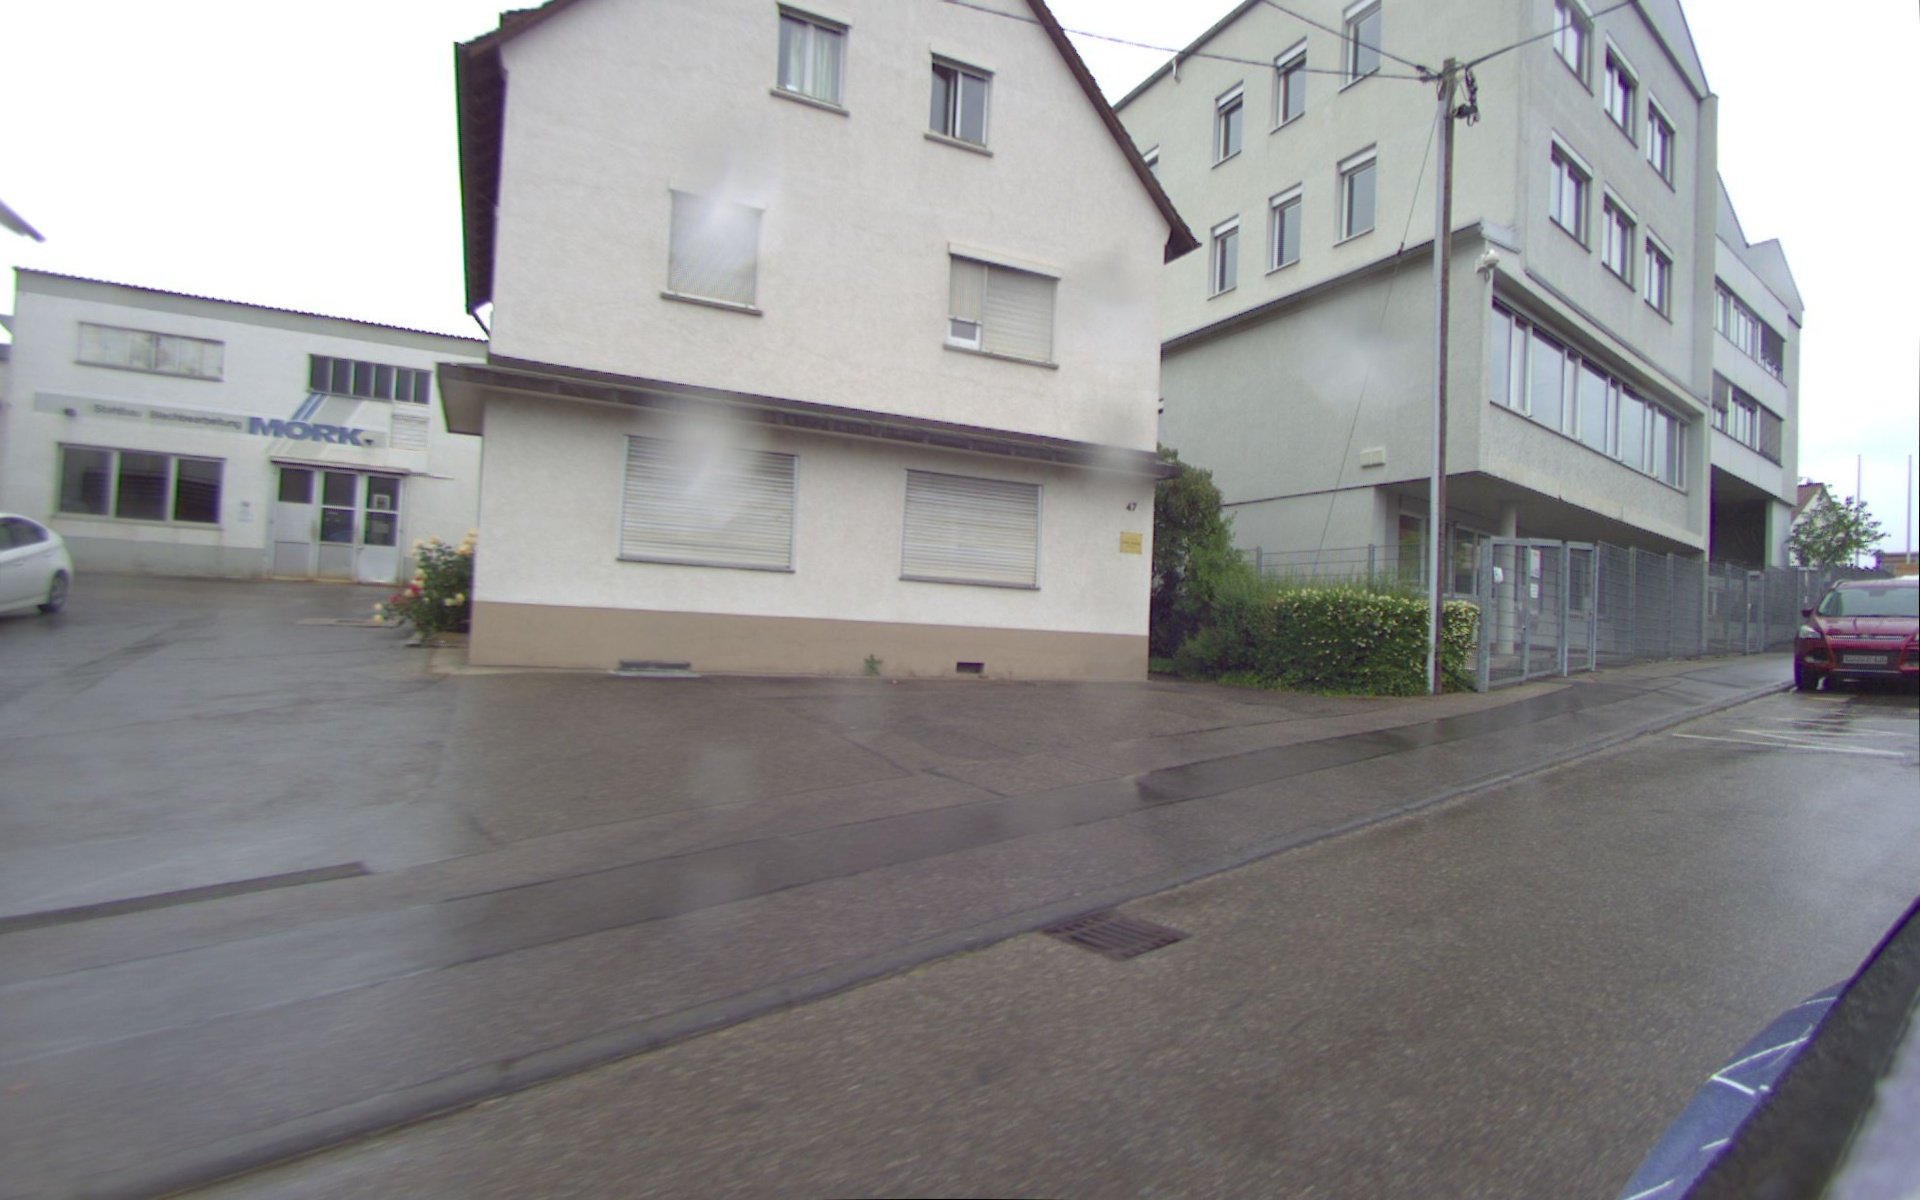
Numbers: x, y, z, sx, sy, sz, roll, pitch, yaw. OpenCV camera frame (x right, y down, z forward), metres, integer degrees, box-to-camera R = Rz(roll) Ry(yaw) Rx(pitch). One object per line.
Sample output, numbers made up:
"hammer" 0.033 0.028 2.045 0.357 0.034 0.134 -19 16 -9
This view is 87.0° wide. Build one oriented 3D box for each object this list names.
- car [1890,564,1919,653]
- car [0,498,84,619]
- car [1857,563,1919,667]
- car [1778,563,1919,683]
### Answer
"car" 23.367 0.165 23.519 4.888 1.959 1.997 -1 1 -40
"car" -13.820 -0.614 13.592 1.765 1.618 4.308 3 1 -23
"car" 18.804 0.242 19.365 4.410 1.857 1.882 -1 1 -40
"car" 14.840 0.291 16.097 4.871 1.665 1.997 -1 1 -40
